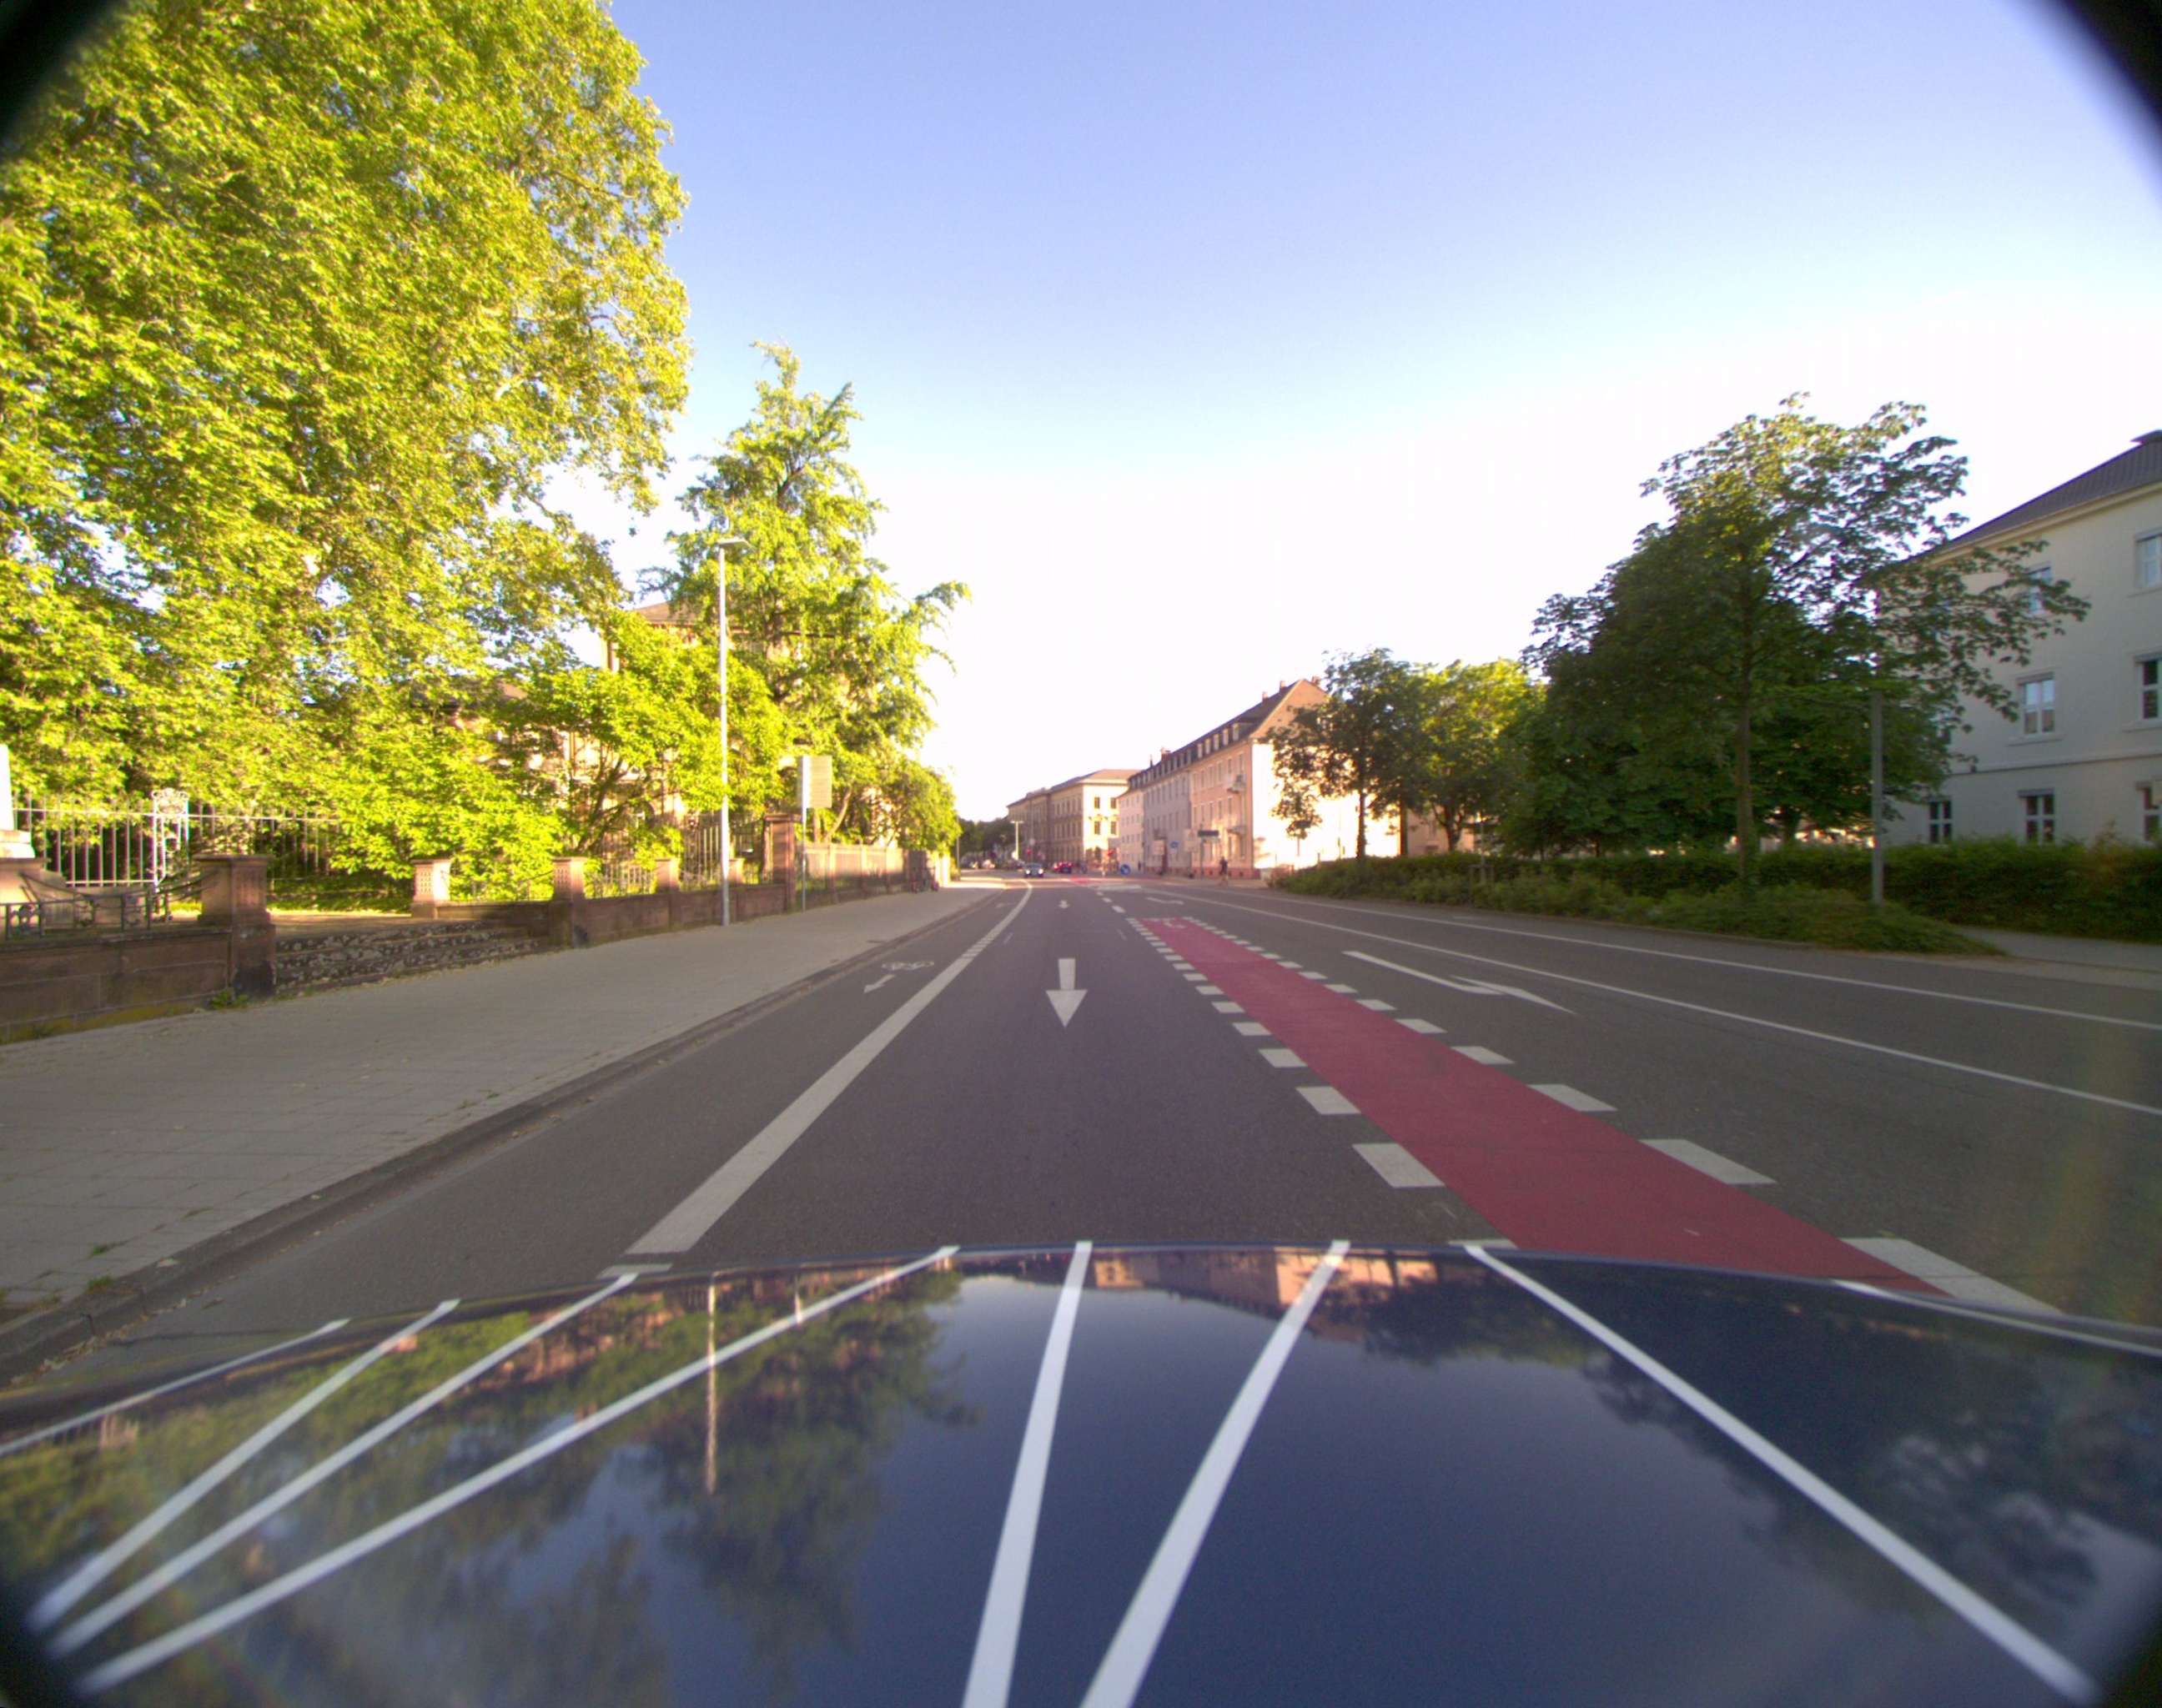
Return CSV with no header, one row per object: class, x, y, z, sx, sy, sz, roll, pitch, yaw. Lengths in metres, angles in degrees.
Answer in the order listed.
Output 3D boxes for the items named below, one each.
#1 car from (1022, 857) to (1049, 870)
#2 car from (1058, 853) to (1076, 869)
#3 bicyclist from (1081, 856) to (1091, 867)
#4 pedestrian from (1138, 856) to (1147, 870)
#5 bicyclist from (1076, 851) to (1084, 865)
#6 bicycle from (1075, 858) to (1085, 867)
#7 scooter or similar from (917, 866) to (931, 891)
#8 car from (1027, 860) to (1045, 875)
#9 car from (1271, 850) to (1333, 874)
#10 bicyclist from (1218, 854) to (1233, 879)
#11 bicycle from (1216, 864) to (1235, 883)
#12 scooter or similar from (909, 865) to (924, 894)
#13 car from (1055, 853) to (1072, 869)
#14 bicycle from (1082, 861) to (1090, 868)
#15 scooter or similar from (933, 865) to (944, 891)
car,-7.874,1.635,131.083,4.503,2.093,2.004,0,0,38
car,-1.839,0.919,96.286,1.999,2.002,3.998,0,0,-5
bicyclist,0.626,0.949,96.309,1.026,1.481,0.870,0,0,-9
pedestrian,8.122,1.210,100.644,0.949,1.894,1.062,-2,1,-7
bicyclist,-0.114,0.553,106.251,0.956,2.002,1.307,0,0,-9
bicycle,-0.111,1.214,106.240,0.956,1.216,2.777,0,0,-9
scooter or similar,-7.567,1.172,36.672,0.576,1.177,1.487,0,0,-7
car,-4.347,1.300,74.011,1.709,1.397,4.263,0,0,-3
car,16.676,0.582,57.519,4.000,1.652,1.998,-2,1,-9
bicyclist,9.107,0.763,47.934,0.691,1.553,0.838,1,0,-3
bicycle,9.100,1.222,47.944,0.697,1.152,2.245,1,0,-3
scooter or similar,-7.554,1.157,34.819,0.577,1.246,1.486,0,0,-15
car,-2.420,0.940,101.907,1.999,2.002,3.998,0,0,-5
bicycle,0.621,1.359,96.341,0.663,0.907,2.861,0,0,-9
scooter or similar,-7.094,1.163,37.754,0.517,1.233,1.521,0,0,-11
